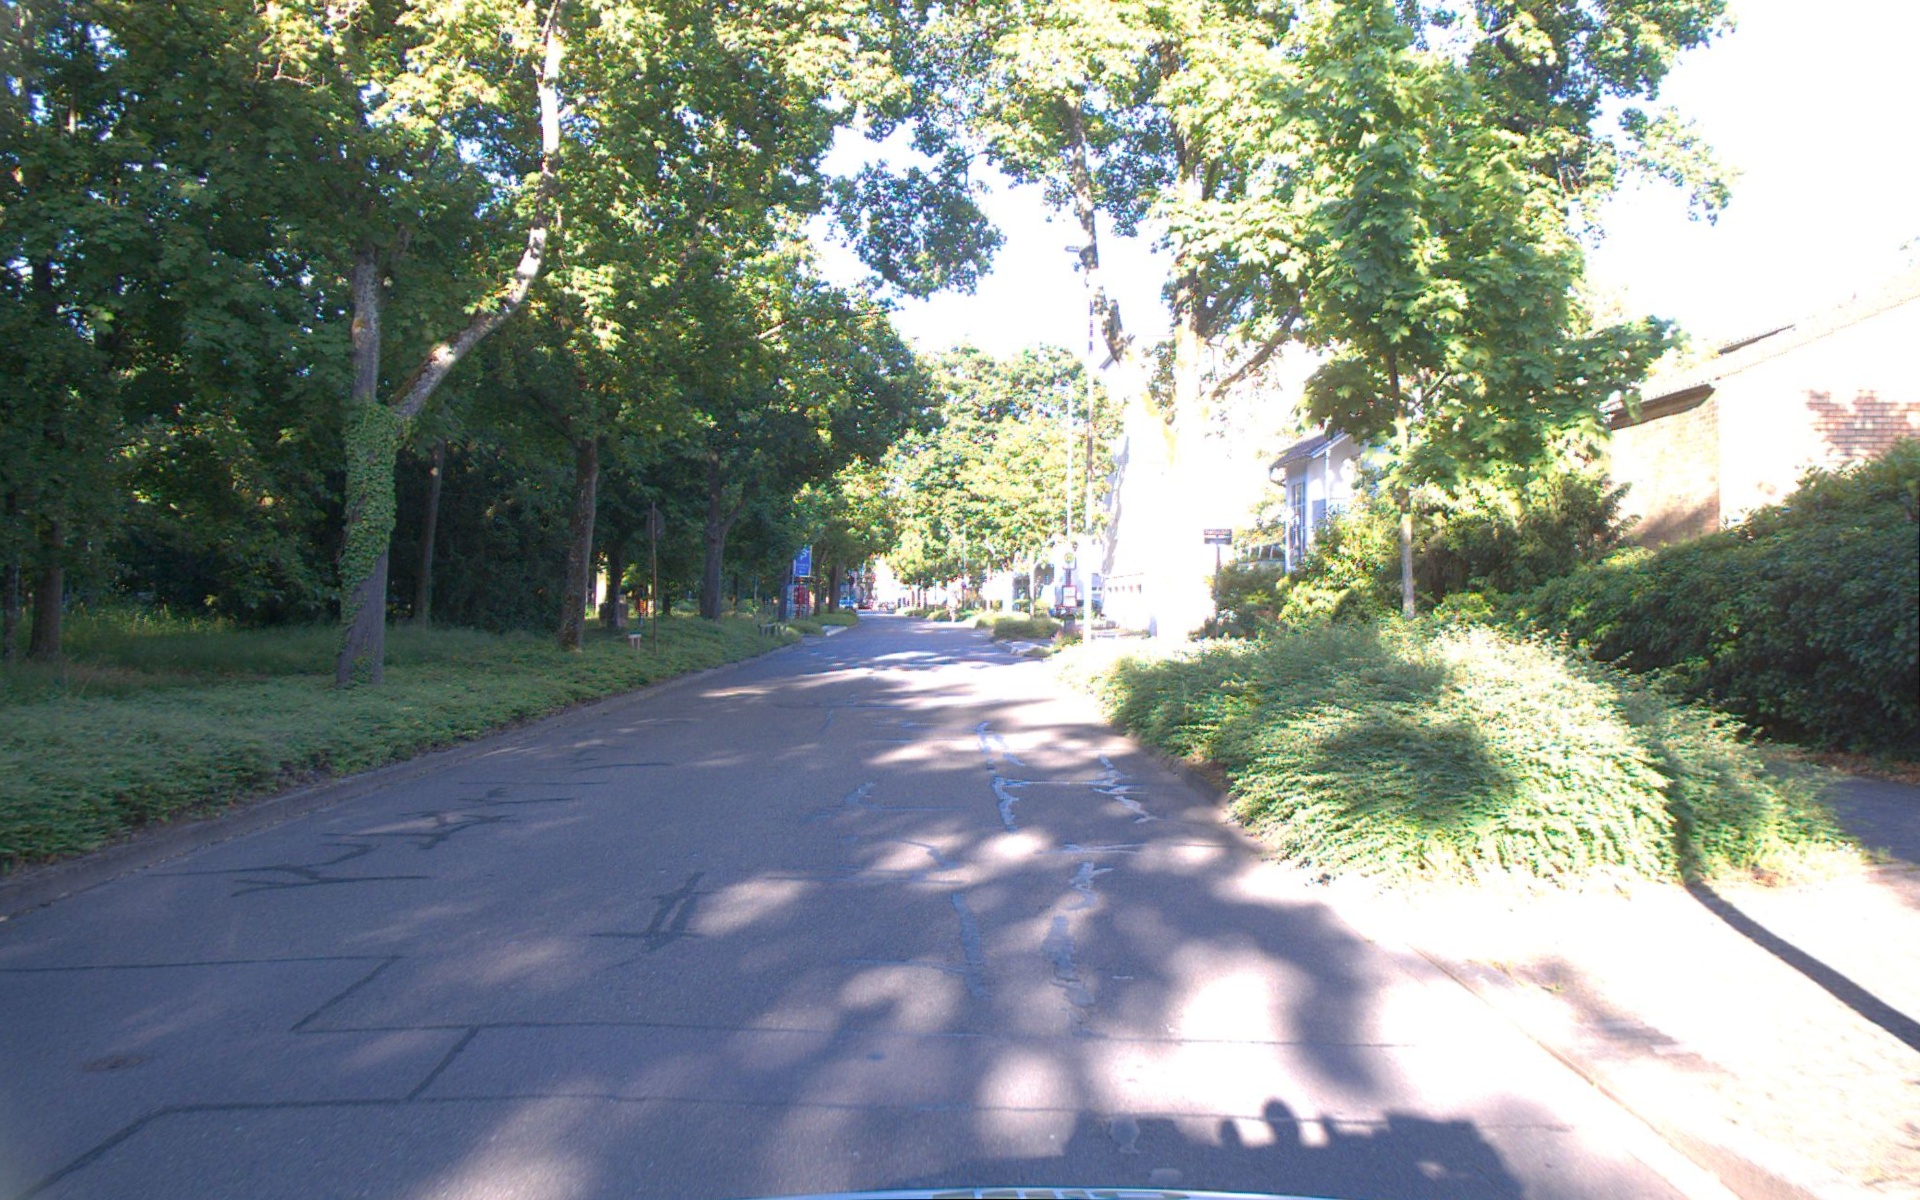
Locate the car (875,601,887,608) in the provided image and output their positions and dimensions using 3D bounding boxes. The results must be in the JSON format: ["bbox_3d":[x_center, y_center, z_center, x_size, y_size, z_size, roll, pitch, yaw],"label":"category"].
[{"bbox_3d":[-12.075,0.750,253.742,1.802,1.009,3.817,2,0,-3],"label":"car"}]

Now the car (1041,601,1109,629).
[{"bbox_3d":[7.440,0.936,106.877,4.259,1.377,2.145,4,3,5],"label":"car"}]

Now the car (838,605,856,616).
[{"bbox_3d":[-14.441,1.318,211.224,1.957,1.378,3.532,2,0,-10],"label":"car"}]

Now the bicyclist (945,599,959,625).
[{"bbox_3d":[-0.520,0.769,110.152,0.849,1.669,1.114,2,1,-1],"label":"bicyclist"}]

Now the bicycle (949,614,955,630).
[{"bbox_3d":[-0.536,1.435,110.083,0.430,0.995,1.661,0,1,-1],"label":"bicycle"}]
